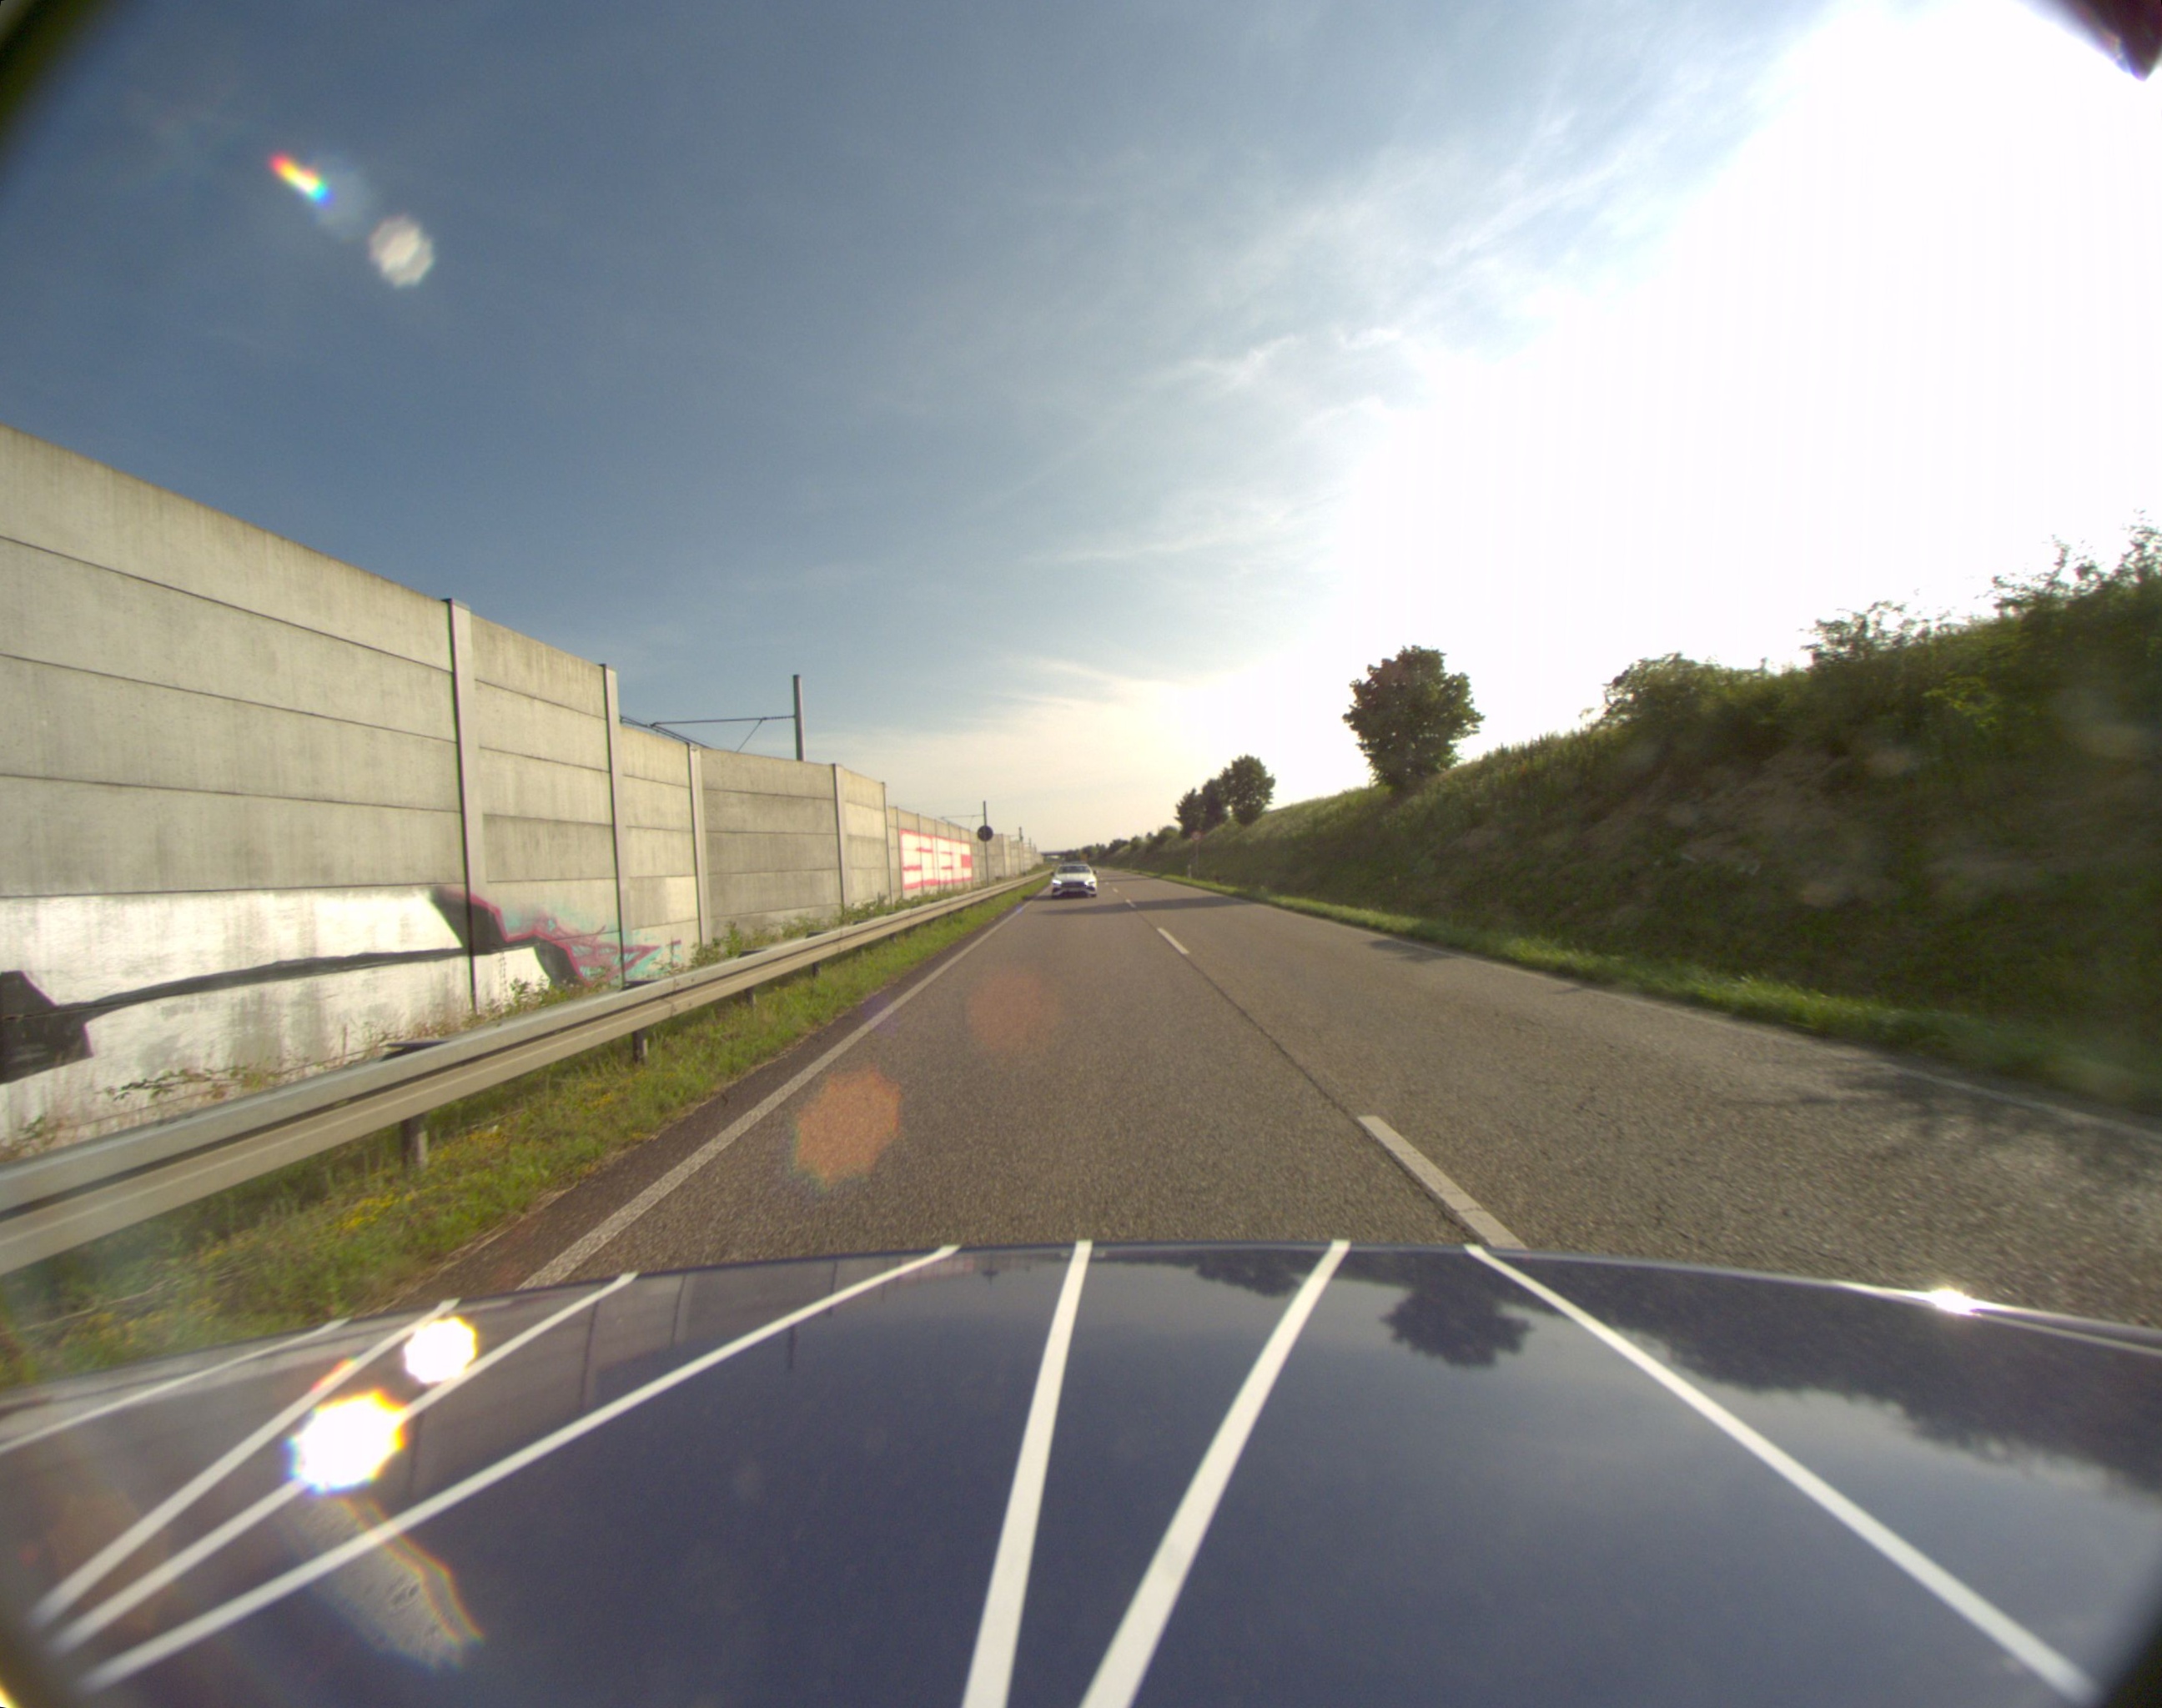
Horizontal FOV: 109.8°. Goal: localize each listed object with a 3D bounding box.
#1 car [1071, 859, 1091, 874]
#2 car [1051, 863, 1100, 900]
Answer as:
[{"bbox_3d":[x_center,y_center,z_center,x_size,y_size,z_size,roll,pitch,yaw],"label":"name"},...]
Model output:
[{"bbox_3d":[-0.038,1.256,79.100,1.930,1.399,4.973,-1,0,0],"label":"car"},{"bbox_3d":[-0.299,1.130,33.035,1.930,1.398,4.973,-3,0,-2],"label":"car"}]
